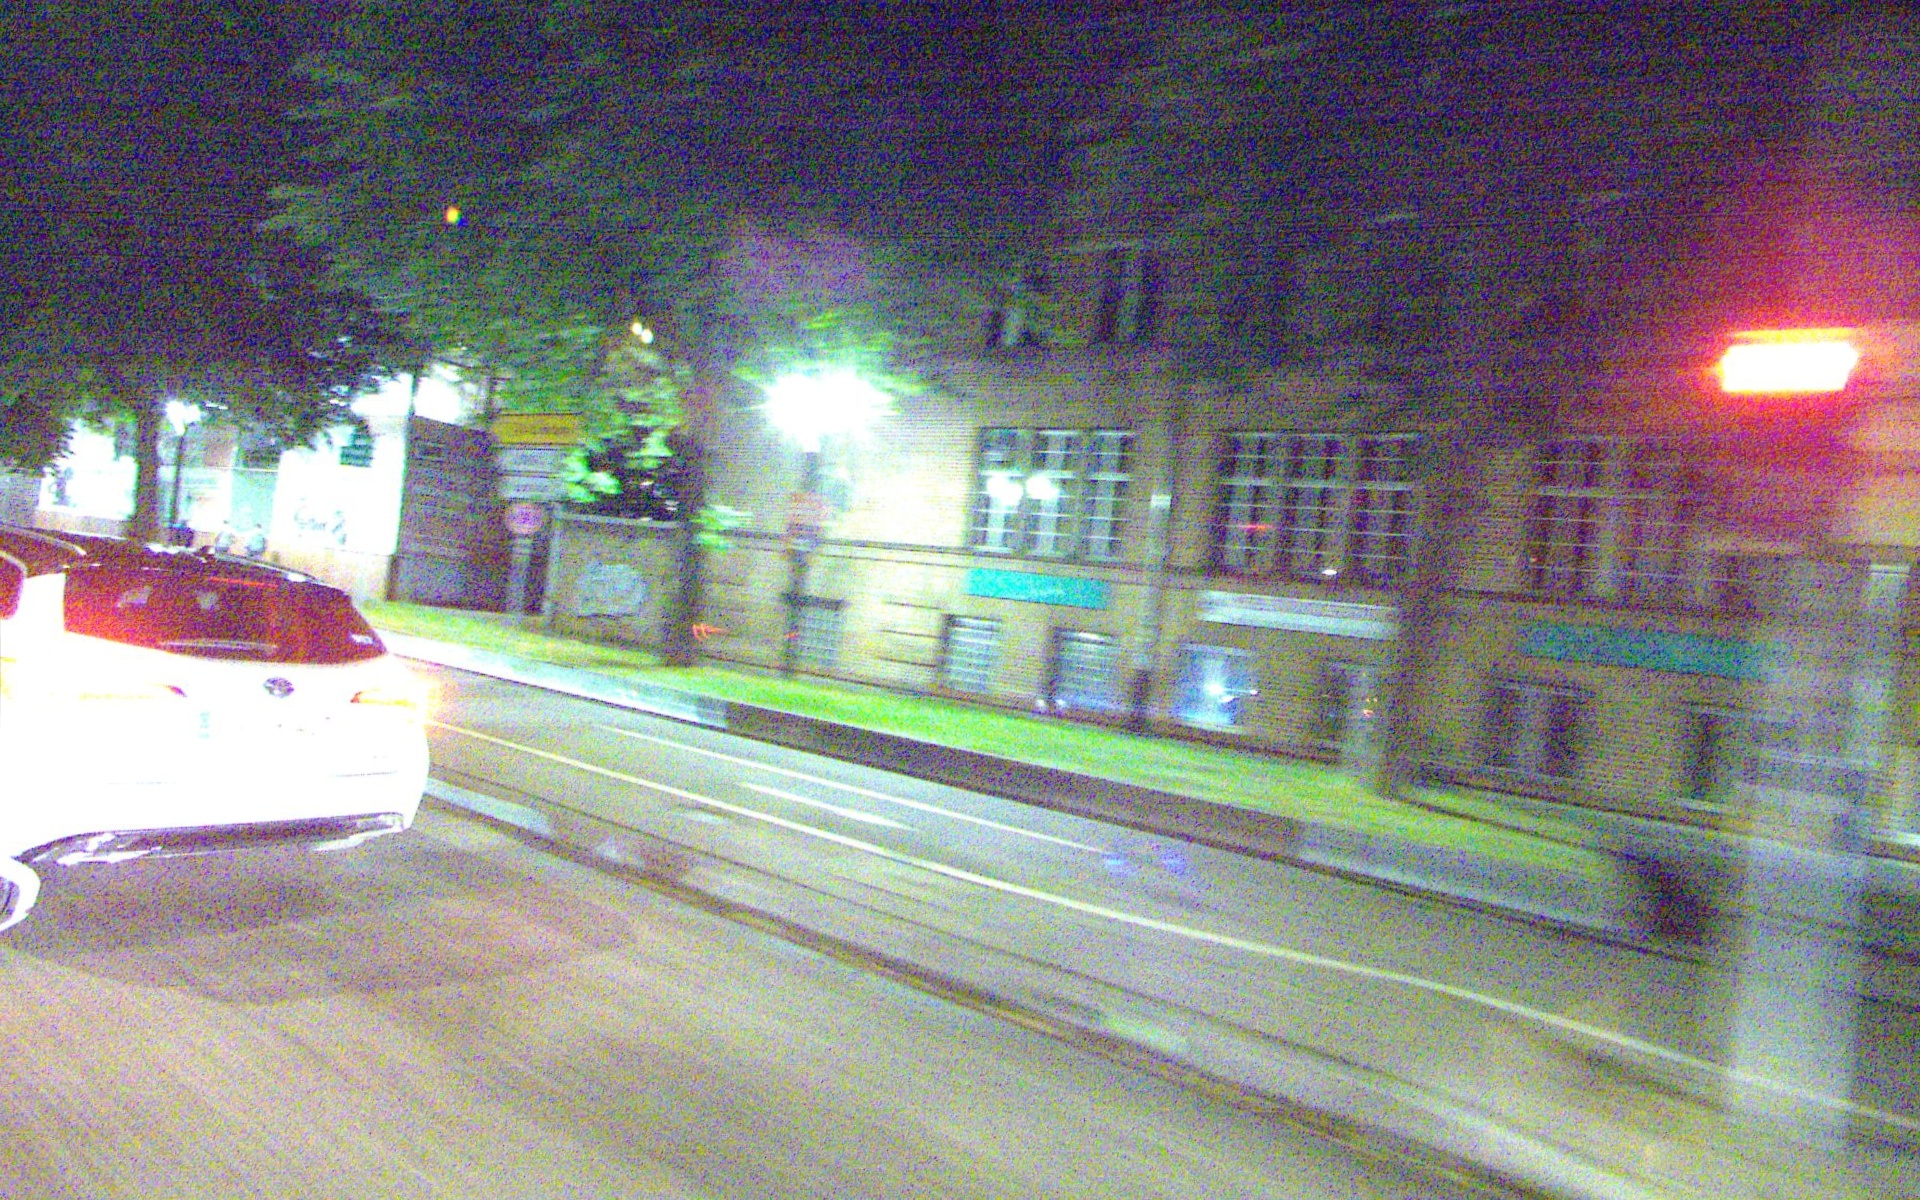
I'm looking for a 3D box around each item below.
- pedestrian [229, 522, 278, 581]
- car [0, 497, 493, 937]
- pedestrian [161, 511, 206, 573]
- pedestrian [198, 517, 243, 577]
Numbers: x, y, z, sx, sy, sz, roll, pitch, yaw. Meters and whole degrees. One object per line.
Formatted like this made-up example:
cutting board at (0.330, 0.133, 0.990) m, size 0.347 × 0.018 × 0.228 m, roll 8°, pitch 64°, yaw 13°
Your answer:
pedestrian at (-23.390, -1.596, 33.291) m, size 0.892 × 1.791 × 0.902 m, roll 7°, pitch 0°, yaw 31°
car at (-4.509, 0.294, 5.072) m, size 4.140 × 1.451 × 1.734 m, roll 6°, pitch -3°, yaw 31°
pedestrian at (-24.162, -1.811, 31.312) m, size 0.892 × 1.791 × 0.715 m, roll 7°, pitch 0°, yaw 32°
pedestrian at (-23.706, -1.691, 32.232) m, size 0.892 × 1.791 × 0.739 m, roll 7°, pitch 0°, yaw 32°
